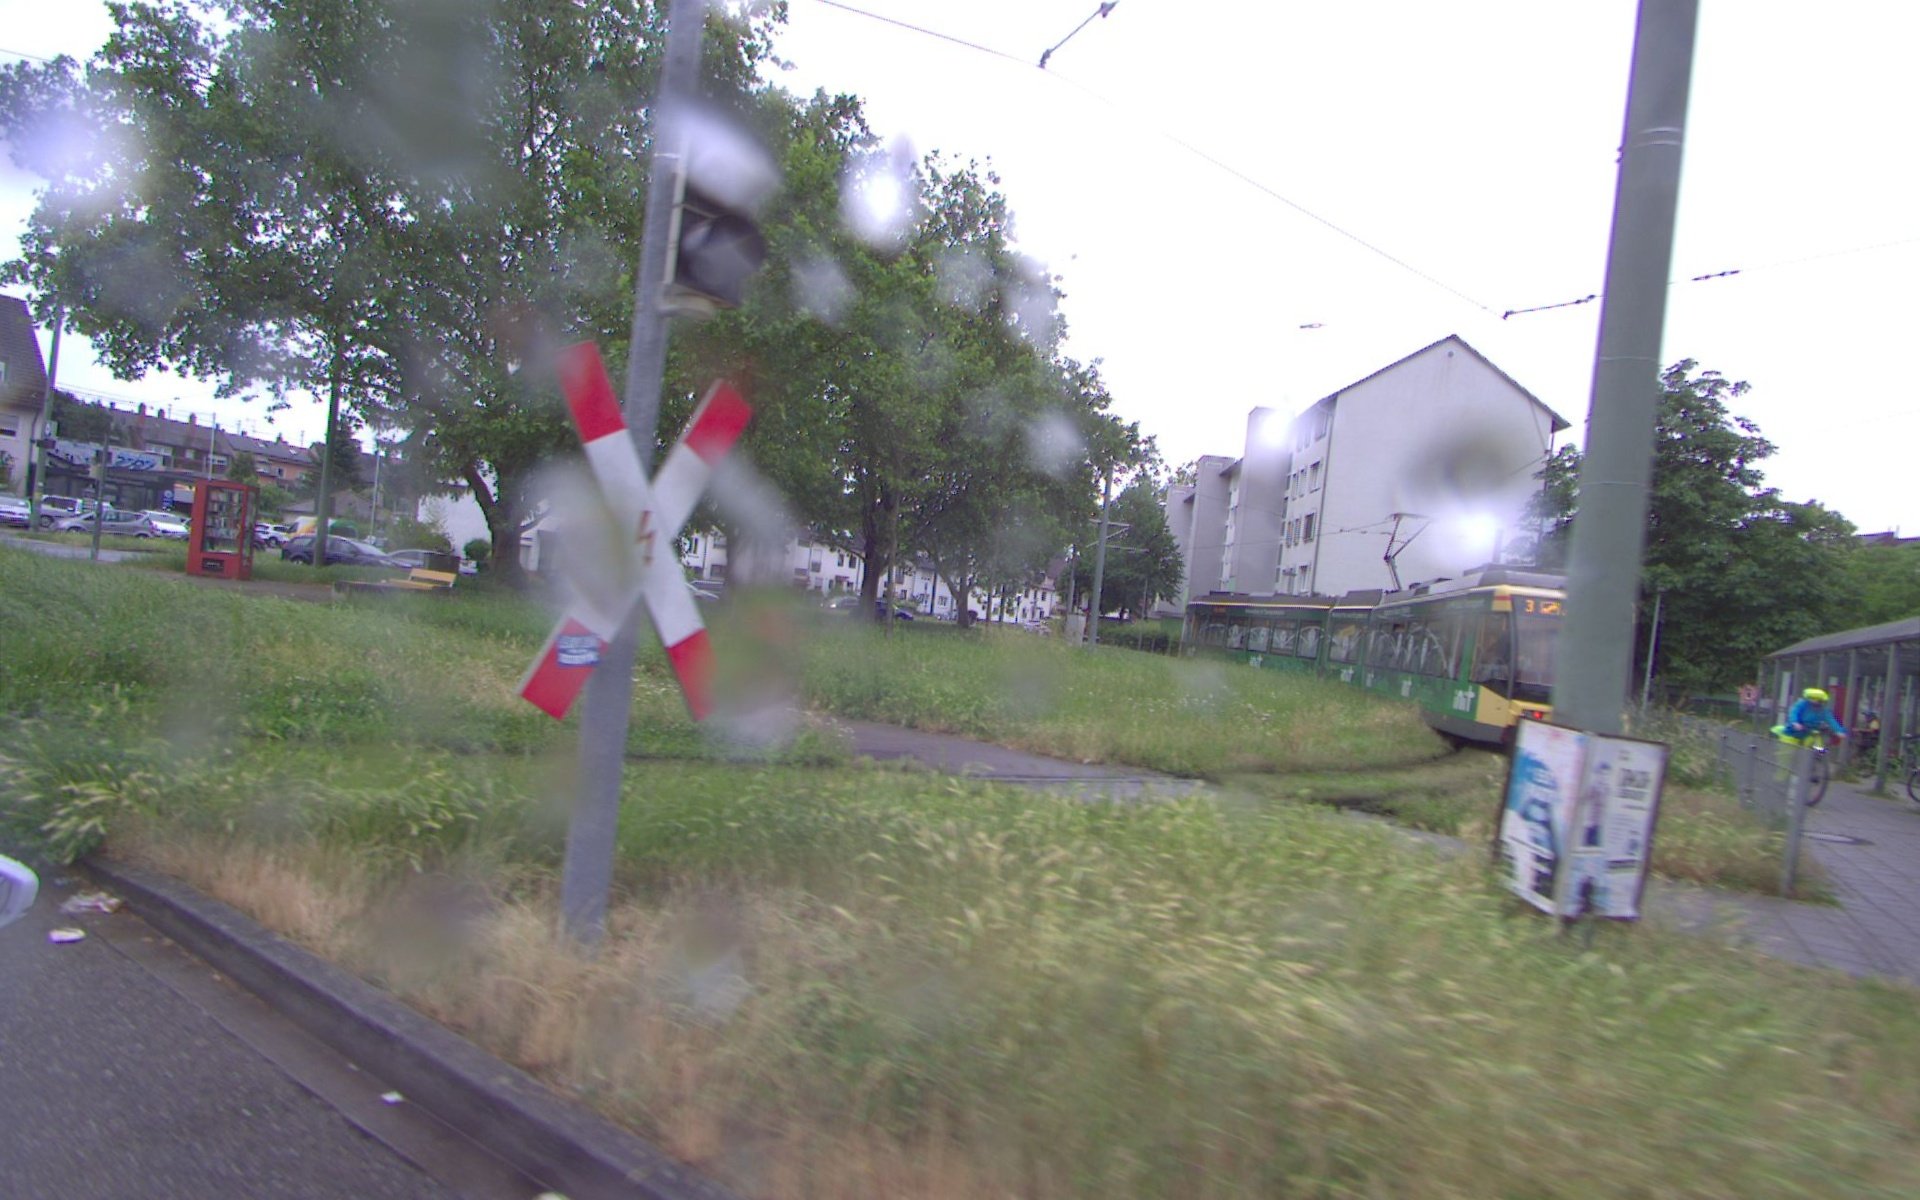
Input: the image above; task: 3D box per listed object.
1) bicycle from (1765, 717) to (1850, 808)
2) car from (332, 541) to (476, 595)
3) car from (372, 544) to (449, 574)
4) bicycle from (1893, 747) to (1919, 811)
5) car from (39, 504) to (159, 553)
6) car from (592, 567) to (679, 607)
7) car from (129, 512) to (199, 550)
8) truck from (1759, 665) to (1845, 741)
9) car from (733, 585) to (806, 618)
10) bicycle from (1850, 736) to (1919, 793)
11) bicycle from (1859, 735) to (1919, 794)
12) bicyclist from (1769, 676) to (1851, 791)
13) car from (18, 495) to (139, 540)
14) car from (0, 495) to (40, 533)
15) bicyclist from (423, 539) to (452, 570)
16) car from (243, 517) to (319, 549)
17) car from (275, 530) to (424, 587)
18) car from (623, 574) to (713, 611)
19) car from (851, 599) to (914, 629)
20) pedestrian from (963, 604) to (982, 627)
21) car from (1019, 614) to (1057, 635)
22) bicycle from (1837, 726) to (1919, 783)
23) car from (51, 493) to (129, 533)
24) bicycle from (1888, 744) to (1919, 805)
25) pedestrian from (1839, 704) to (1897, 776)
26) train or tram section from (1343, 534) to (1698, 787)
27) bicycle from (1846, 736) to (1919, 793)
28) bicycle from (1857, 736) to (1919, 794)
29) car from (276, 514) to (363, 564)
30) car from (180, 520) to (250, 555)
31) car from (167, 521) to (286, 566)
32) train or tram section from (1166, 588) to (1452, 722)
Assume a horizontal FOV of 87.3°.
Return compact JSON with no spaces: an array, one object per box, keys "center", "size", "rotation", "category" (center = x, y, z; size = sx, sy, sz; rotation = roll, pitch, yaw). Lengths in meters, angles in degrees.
[{"center":[12.395,2.339,14.759],"size":[0.717,1.143,1.748],"rotation":[8,0,37],"category":"bicycle"},{"center":[-21.298,-1.201,38.651],"size":[4.463,1.494,1.805],"rotation":[7,0,4],"category":"car"},{"center":[-35.484,-2.659,65.073],"size":[1.966,1.586,3.883],"rotation":[7,3,29],"category":"car"},{"center":[15.516,2.878,15.741],"size":[1.218,0.967,0.377],"rotation":[6,-2,34],"category":"bicycle"},{"center":[-38.410,-3.167,44.953],"size":[1.694,1.521,3.640],"rotation":[6,-3,31],"category":"car"},{"center":[-15.177,-0.593,47.194],"size":[3.453,1.524,1.754],"rotation":[5,-2,-6],"category":"car"},{"center":[-41.839,-3.635,52.885],"size":[3.559,1.591,1.720],"rotation":[6,-2,33],"category":"car"},{"center":[46.326,5.730,55.379],"size":[3.157,3.513,7.122],"rotation":[6,-3,41],"category":"truck"},{"center":[-10.489,0.076,55.530],"size":[3.530,1.498,1.638],"rotation":[5,0,4],"category":"car"},{"center":[18.403,3.246,19.789],"size":[1.218,0.958,0.377],"rotation":[6,-2,34],"category":"bicycle"},{"center":[17.531,3.077,18.622],"size":[1.218,0.958,0.377],"rotation":[6,-2,34],"category":"bicycle"},{"center":[12.431,1.942,14.730],"size":[0.714,1.535,0.696],"rotation":[8,0,38],"category":"bicyclist"},{"center":[-46.578,-4.355,53.278],"size":[1.731,1.708,4.437],"rotation":[5,-1,32],"category":"car"},{"center":[-44.767,-4.097,47.349],"size":[4.006,1.521,1.825],"rotation":[5,-3,44],"category":"car"},{"center":[-30.053,-2.614,57.886],"size":[0.933,1.618,1.040],"rotation":[6,1,28],"category":"bicyclist"},{"center":[-47.334,-4.637,70.206],"size":[1.759,1.599,4.450],"rotation":[6,-1,8],"category":"car"},{"center":[-21.804,-1.470,36.020],"size":[4.100,1.494,1.804],"rotation":[7,0,0],"category":"car"},{"center":[-14.343,-0.335,49.617],"size":[3.928,1.519,1.823],"rotation":[4,-2,-7],"category":"car"},{"center":[-5.075,0.898,66.101],"size":[3.926,1.502,1.998],"rotation":[6,1,-2],"category":"car"},{"center":[1.053,1.290,81.600],"size":[1.029,1.735,1.079],"rotation":[6,0,26],"category":"pedestrian"},{"center":[7.299,2.334,93.845],"size":[1.927,1.571,3.996],"rotation":[4,-2,28],"category":"car"},{"center":[19.236,3.218,20.992],"size":[1.283,0.958,0.418],"rotation":[7,-1,16],"category":"bicycle"},{"center":[-43.340,-4.346,50.121],"size":[3.807,1.598,1.803],"rotation":[6,1,31],"category":"car"},{"center":[16.202,2.949,16.581],"size":[1.218,0.958,0.377],"rotation":[6,-2,34],"category":"bicycle"},{"center":[21.631,3.326,23.984],"size":[0.776,1.591,0.635],"rotation":[6,-1,30],"category":"pedestrian"},{"center":[11.518,1.289,23.058],"size":[2.663,3.632,14.751],"rotation":[8,-1,13],"category":"train or tram section"},{"center":[18.686,3.302,20.194],"size":[1.218,0.958,0.377],"rotation":[6,-2,34],"category":"bicycle"},{"center":[17.982,3.161,19.151],"size":[1.218,0.958,0.377],"rotation":[6,-2,34],"category":"bicycle"},{"center":[-38.924,-3.711,61.103],"size":[5.061,2.433,2.150],"rotation":[6,-2,30],"category":"car"},{"center":[-40.340,-3.380,54.483],"size":[3.780,1.412,1.720],"rotation":[6,-2,33],"category":"car"},{"center":[-36.226,-2.778,49.836],"size":[1.692,1.353,4.392],"rotation":[7,-4,26],"category":"car"},{"center":[11.792,1.608,36.889],"size":[2.670,3.632,14.712],"rotation":[8,-1,-10],"category":"train or tram section"}]
